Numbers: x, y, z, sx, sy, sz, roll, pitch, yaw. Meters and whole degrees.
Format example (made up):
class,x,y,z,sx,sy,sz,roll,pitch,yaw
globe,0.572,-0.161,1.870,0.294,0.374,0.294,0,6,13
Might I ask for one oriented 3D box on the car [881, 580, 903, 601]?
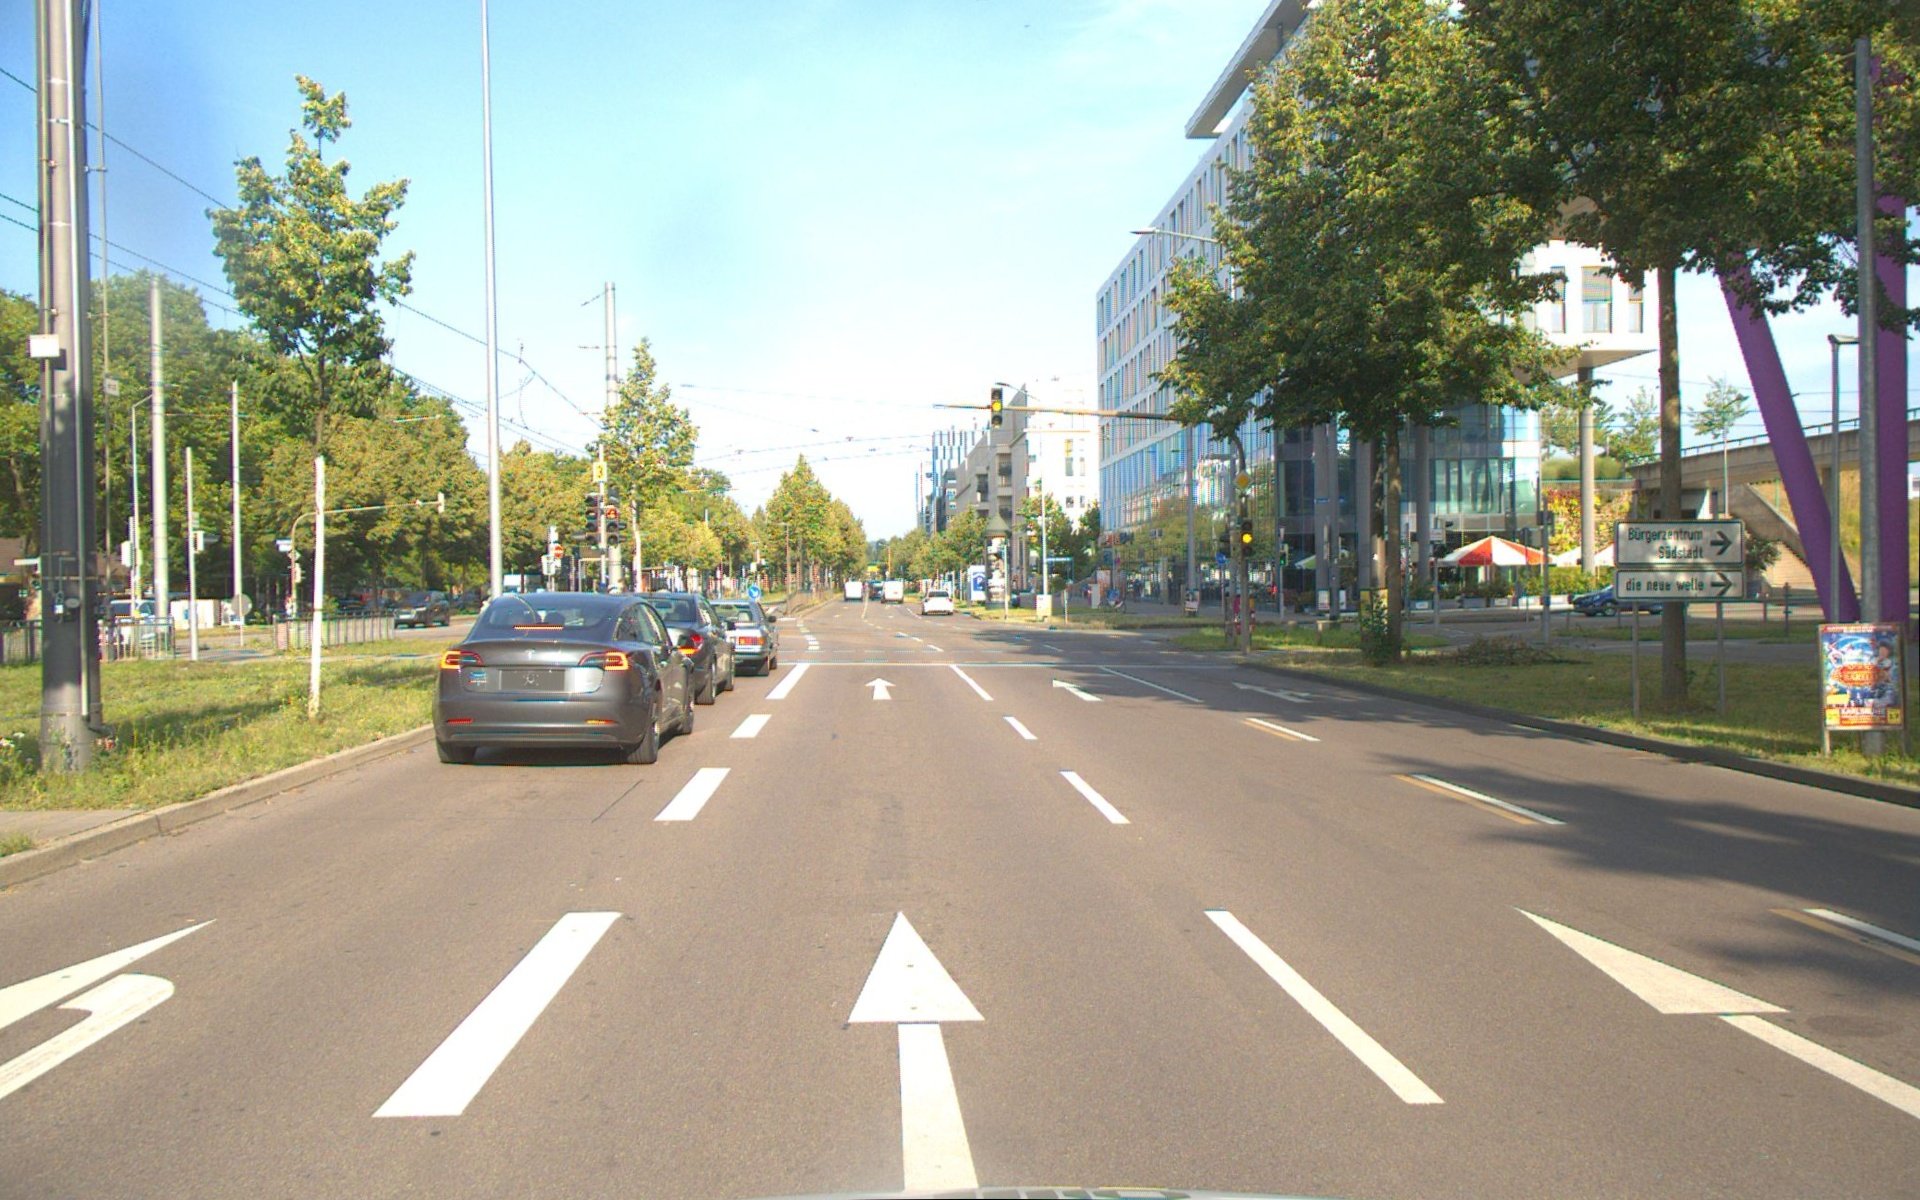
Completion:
class,x,y,z,sx,sy,sz,roll,pitch,yaw
car,-5.801,-0.840,140.963,1.827,1.713,3.998,1,1,-3

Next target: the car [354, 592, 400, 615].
class,x,y,z,sx,sy,sz,roll,pitch,yaw
car,-43.044,0.229,122.243,1.842,1.586,4.001,-1,0,2

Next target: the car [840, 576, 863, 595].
class,x,y,z,sx,sy,sz,roll,pitch,yaw
car,-10.091,-1.340,154.081,1.974,1.713,3.998,1,1,-3

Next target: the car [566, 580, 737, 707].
class,x,y,z,sx,sy,sz,roll,pitch,yaw
car,-4.069,0.509,22.455,1.751,1.504,4.351,1,1,-4

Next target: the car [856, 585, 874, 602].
class,x,y,z,sx,sy,sz,roll,pitch,yaw
car,-10.392,-0.741,180.823,1.886,1.713,3.997,1,1,-4

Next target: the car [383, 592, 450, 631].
class,x,y,z,sx,sy,sz,roll,pitch,yaw
car,-26.120,0.528,79.633,1.955,1.714,4.990,-1,1,-5

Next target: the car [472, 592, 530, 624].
class,x,y,z,sx,sy,sz,roll,pitch,yaw
car,-22.994,0.404,83.031,1.954,1.530,4.090,-1,0,-3

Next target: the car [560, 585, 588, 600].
class,x,y,z,sx,sy,sz,roll,pitch,yaw
car,-41.476,-0.815,177.753,1.842,1.586,4.001,-1,0,2

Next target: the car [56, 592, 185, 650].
class,x,y,z,sx,sy,sz,roll,pitch,yaw
car,-25.031,0.589,49.505,1.955,1.554,4.308,-1,1,-5

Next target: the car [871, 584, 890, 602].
class,x,y,z,sx,sy,sz,roll,pitch,yaw
car,-8.013,-0.679,166.334,1.885,1.713,3.998,1,1,-3

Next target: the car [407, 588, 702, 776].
class,x,y,z,sx,sy,sz,roll,pitch,yaw
car,-3.530,0.635,15.190,1.852,1.410,4.332,1,1,-3

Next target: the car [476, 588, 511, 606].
class,x,y,z,sx,sy,sz,roll,pitch,yaw
car,-42.072,-0.284,149.343,1.842,1.586,4.001,-1,0,2

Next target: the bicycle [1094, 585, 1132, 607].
class,x,y,z,sx,sy,sz,roll,pitch,yaw
bicycle,7.741,-0.202,83.954,1.846,1.050,0.768,0,1,44

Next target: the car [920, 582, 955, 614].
class,x,y,z,sx,sy,sz,roll,pitch,yaw
car,-1.304,-0.156,93.412,1.827,1.713,3.998,1,1,-3

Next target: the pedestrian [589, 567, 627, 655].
class,x,y,z,sx,sy,sz,roll,pitch,yaw
pedestrian,-7.386,0.225,34.725,0.685,1.823,0.635,0,0,-3

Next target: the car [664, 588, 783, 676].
class,x,y,z,sx,sy,sz,roll,pitch,yaw
car,-4.068,0.509,28.968,1.729,1.353,4.397,1,1,-4

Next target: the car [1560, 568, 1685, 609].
class,x,y,z,sx,sy,sz,roll,pitch,yaw
car,25.594,-0.464,63.978,4.102,1.448,1.858,-2,1,-4

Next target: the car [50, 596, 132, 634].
class,x,y,z,sx,sy,sz,roll,pitch,yaw
car,-43.753,0.733,83.380,1.842,1.780,4.001,-1,0,2
